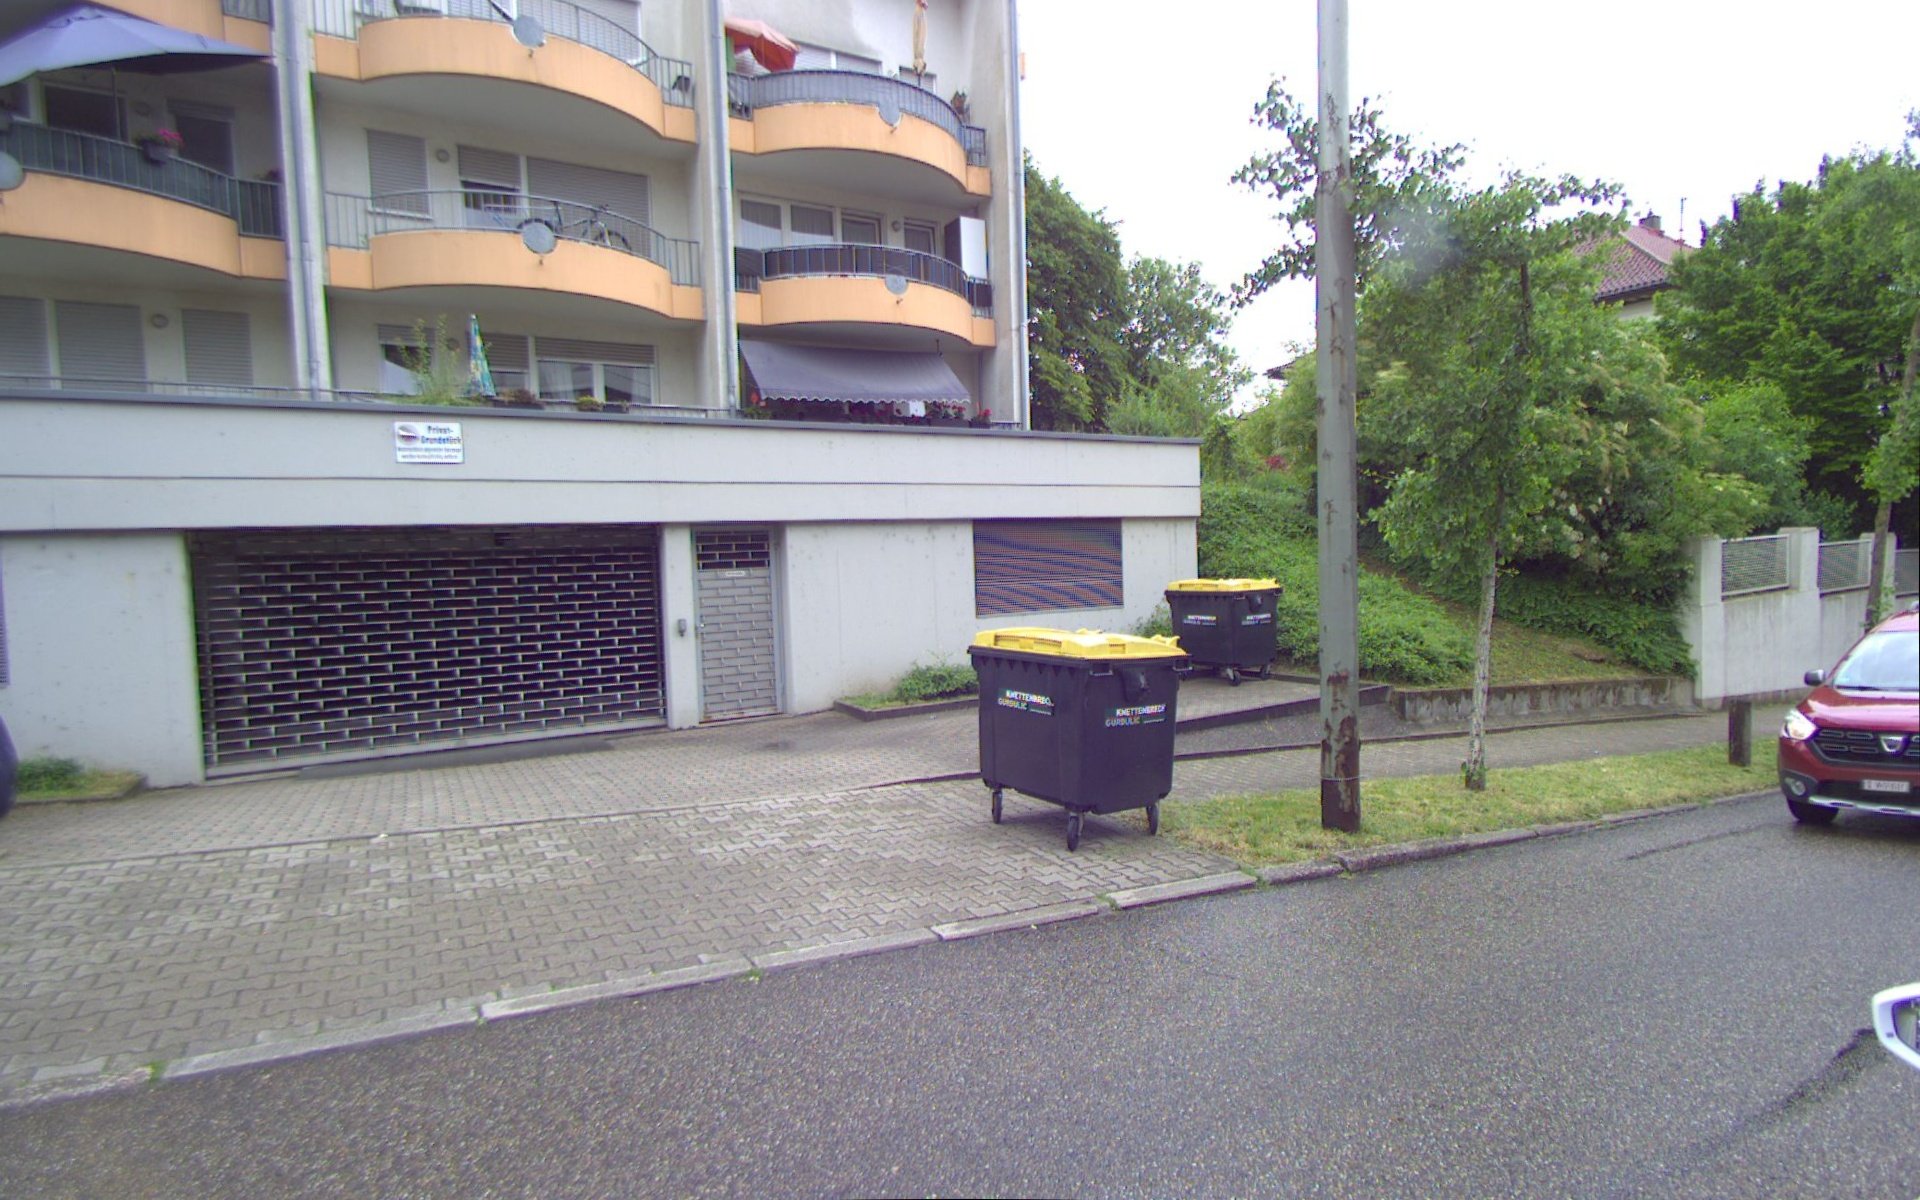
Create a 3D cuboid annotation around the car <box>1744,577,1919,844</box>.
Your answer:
[{"bbox_3d":[8.476,0.820,8.244,4.406,1.852,1.738,2,-2,-30],"label":"car"}]

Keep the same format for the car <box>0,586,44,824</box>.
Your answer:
[{"bbox_3d":[-8.129,0.673,5.654,4.050,1.582,1.770,1,-4,-31],"label":"car"}]

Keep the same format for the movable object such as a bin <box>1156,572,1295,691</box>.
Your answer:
[{"bbox_3d":[3.537,0.370,13.404,1.215,1.383,1.289,-7,6,-36],"label":"movable object such as a bin"}]

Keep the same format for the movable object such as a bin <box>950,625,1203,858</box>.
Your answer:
[{"bbox_3d":[0.777,0.874,6.883,1.145,1.324,1.288,0,2,-38],"label":"movable object such as a bin"}]
